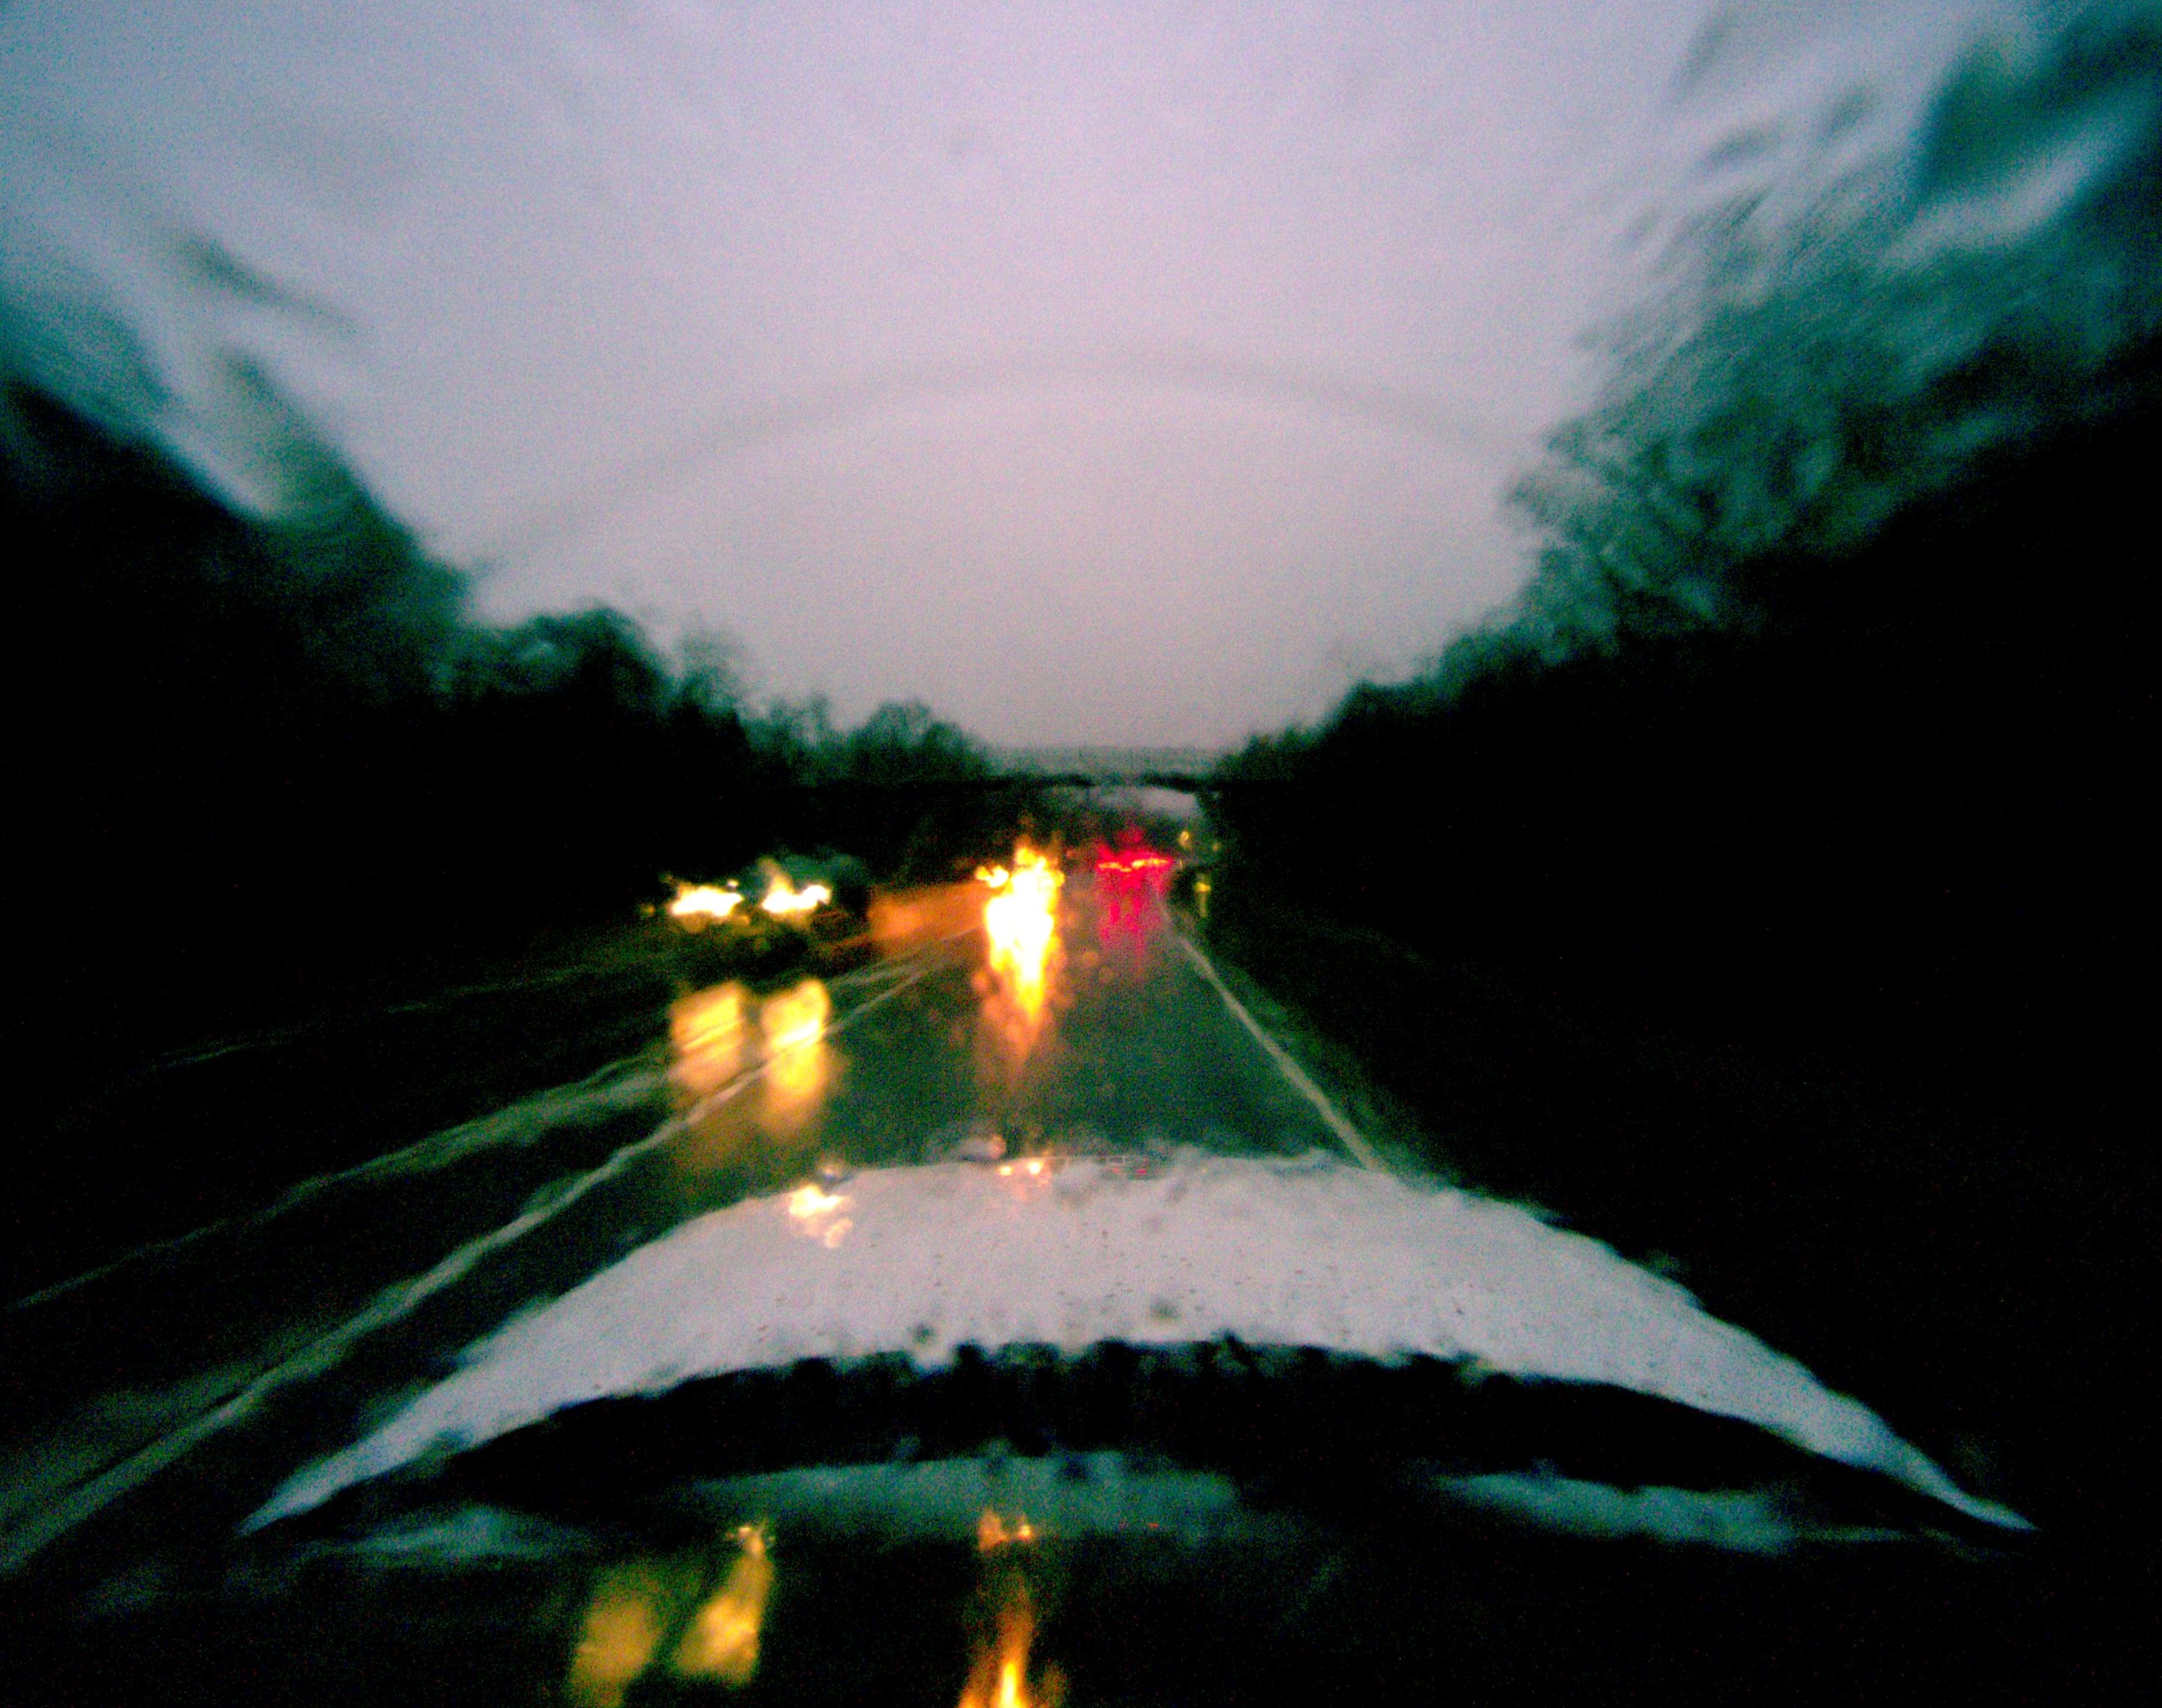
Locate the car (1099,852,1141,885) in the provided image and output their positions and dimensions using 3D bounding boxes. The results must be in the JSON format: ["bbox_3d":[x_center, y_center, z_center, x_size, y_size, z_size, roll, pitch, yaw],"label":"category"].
[{"bbox_3d":[1.856,0.631,37.908,1.670,1.389,4.104,-2,0,6],"label":"car"}]

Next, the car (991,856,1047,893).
[{"bbox_3d":[-2.607,0.848,35.351,1.796,1.453,4.383,-1,0,4],"label":"car"}]

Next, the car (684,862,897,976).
[{"bbox_3d":[-4.822,1.008,14.305,1.852,1.647,4.472,-2,-1,4],"label":"car"}]

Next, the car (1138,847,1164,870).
[{"bbox_3d":[5.383,0.320,62.437,1.669,1.675,4.108,-2,0,8],"label":"car"}]
